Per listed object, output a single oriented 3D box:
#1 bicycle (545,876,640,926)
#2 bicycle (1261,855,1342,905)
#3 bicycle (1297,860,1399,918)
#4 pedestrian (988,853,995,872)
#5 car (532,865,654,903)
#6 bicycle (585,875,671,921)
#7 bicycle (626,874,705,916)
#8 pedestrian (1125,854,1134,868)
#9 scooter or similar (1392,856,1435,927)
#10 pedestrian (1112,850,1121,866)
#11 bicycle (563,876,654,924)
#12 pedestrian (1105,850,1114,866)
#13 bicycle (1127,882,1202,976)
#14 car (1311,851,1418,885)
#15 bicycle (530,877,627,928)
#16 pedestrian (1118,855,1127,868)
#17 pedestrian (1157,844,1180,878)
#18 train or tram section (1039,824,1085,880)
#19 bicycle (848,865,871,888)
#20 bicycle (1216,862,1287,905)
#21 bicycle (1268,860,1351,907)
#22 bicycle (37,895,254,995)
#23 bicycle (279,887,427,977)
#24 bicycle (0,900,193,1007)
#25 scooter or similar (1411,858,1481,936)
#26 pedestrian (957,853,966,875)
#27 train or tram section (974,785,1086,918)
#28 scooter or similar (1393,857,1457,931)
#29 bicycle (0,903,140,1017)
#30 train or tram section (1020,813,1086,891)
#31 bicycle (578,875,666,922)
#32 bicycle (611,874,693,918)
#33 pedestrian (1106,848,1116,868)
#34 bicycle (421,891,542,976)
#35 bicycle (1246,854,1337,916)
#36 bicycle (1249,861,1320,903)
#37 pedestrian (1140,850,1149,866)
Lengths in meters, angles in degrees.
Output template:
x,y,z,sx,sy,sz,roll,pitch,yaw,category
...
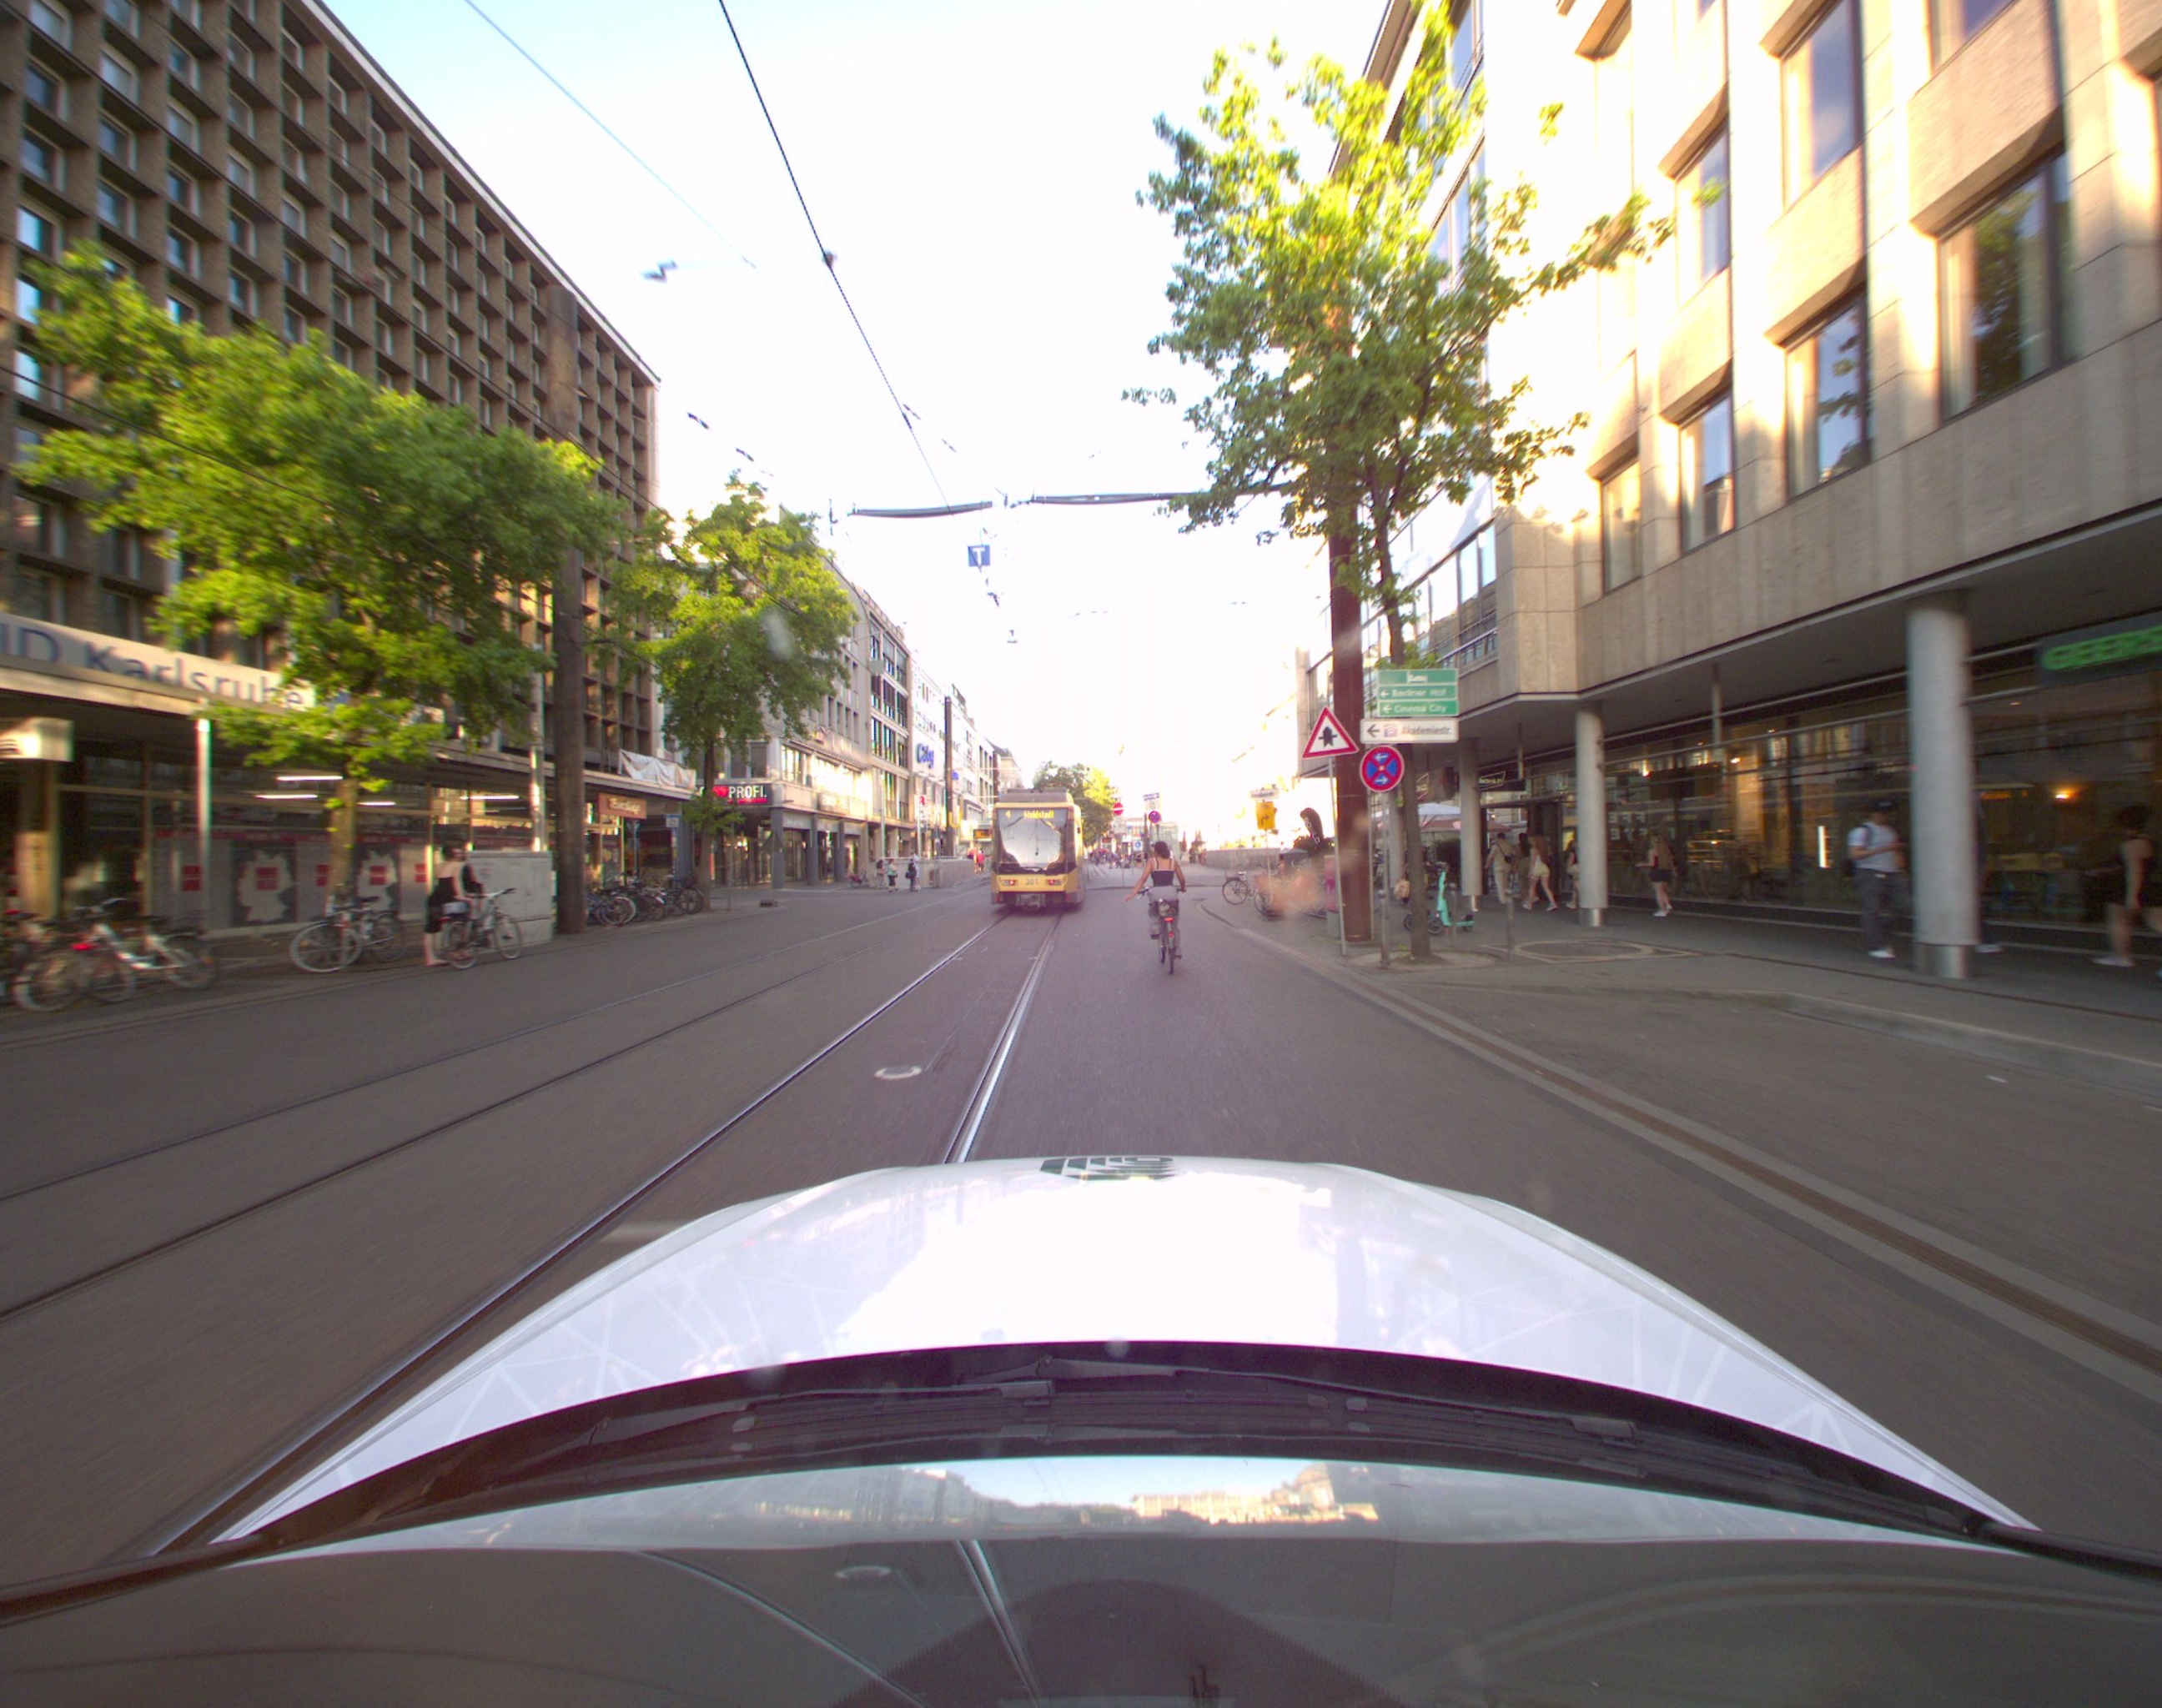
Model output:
x,y,z,sx,sy,sz,roll,pitch,yaw,category
-10.696,1.022,17.865,1.766,1.045,0.489,0,0,0,bicycle
5.974,0.690,22.096,1.911,1.222,0.762,-3,0,-5,bicycle
5.981,0.763,18.301,1.992,1.155,0.724,-3,0,-5,bicycle
-7.583,0.742,68.820,0.511,1.617,0.504,-1,-1,-9,pedestrian
-21.064,1.276,35.275,4.110,1.510,1.798,-1,-1,-3,car
-10.699,1.031,19.258,1.766,1.045,0.489,0,0,0,bicycle
-10.644,1.041,20.899,1.766,1.045,0.489,0,0,0,bicycle
4.521,0.664,76.284,0.790,1.221,0.768,-1,0,-3,pedestrian
6.282,0.693,15.384,0.388,1.251,1.199,-2,0,38,scooter or similar
3.696,0.404,84.260,0.787,1.661,0.772,-1,0,12,pedestrian
-10.688,1.025,18.437,1.766,1.045,0.489,0,0,0,bicycle
3.101,0.440,89.050,0.787,1.661,0.772,-1,0,12,pedestrian
1.088,0.964,11.088,0.812,1.073,2.113,0,0,0,bicycle
12.238,0.600,35.305,4.027,1.409,1.775,-1,-1,-1,car
-10.706,1.025,17.374,1.766,1.045,0.489,0,0,0,bicycle
3.927,0.675,77.087,0.790,1.221,0.768,-1,0,-3,pedestrian
4.890,0.374,45.543,1.014,1.863,1.038,0,-1,-11,pedestrian
-1.133,-0.145,57.061,2.791,3.319,14.507,-1,0,0,train or tram section
-11.441,1.161,42.095,0.496,1.107,1.803,-1,1,6,bicycle
4.908,0.844,23.479,1.848,1.109,0.666,-3,0,-3,bicycle
5.965,0.766,21.349,1.911,1.077,0.762,-3,0,-5,bicycle
-10.695,1.032,9.349,1.769,1.071,0.488,1,0,-6,bicycle
-9.969,1.032,11.242,0.486,1.045,1.776,-1,0,-2,bicycle
-10.712,1.050,8.696,1.769,1.071,0.488,1,0,-6,bicycle
6.246,0.714,13.942,1.119,1.251,0.492,-3,0,-30,scooter or similar
-8.694,0.731,59.199,0.603,1.588,0.626,-1,-1,-9,pedestrian
-1.266,-0.075,28.009,2.791,3.319,14.507,-1,0,0,train or tram section
6.233,0.702,14.754,1.195,1.251,0.389,-3,0,-29,scooter or similar
-10.663,1.046,8.151,1.769,1.071,0.488,1,0,-6,bicycle
-1.196,-0.108,42.517,2.791,3.319,14.507,-1,0,0,train or tram section
-10.705,1.029,19.015,1.766,1.045,0.489,0,0,0,bicycle
-10.687,1.038,20.319,1.766,1.045,0.489,0,0,0,bicycle
2.710,0.355,73.306,0.734,1.823,0.816,-1,0,-14,pedestrian
-8.614,1.104,11.790,0.486,1.045,1.776,-1,0,-2,bicycle
4.995,0.718,19.356,1.911,1.333,0.724,-3,0,-5,bicycle
5.906,0.793,23.651,1.848,1.109,0.666,-3,0,-3,bicycle
6.618,0.379,84.408,0.787,1.661,0.772,-1,0,12,pedestrian
